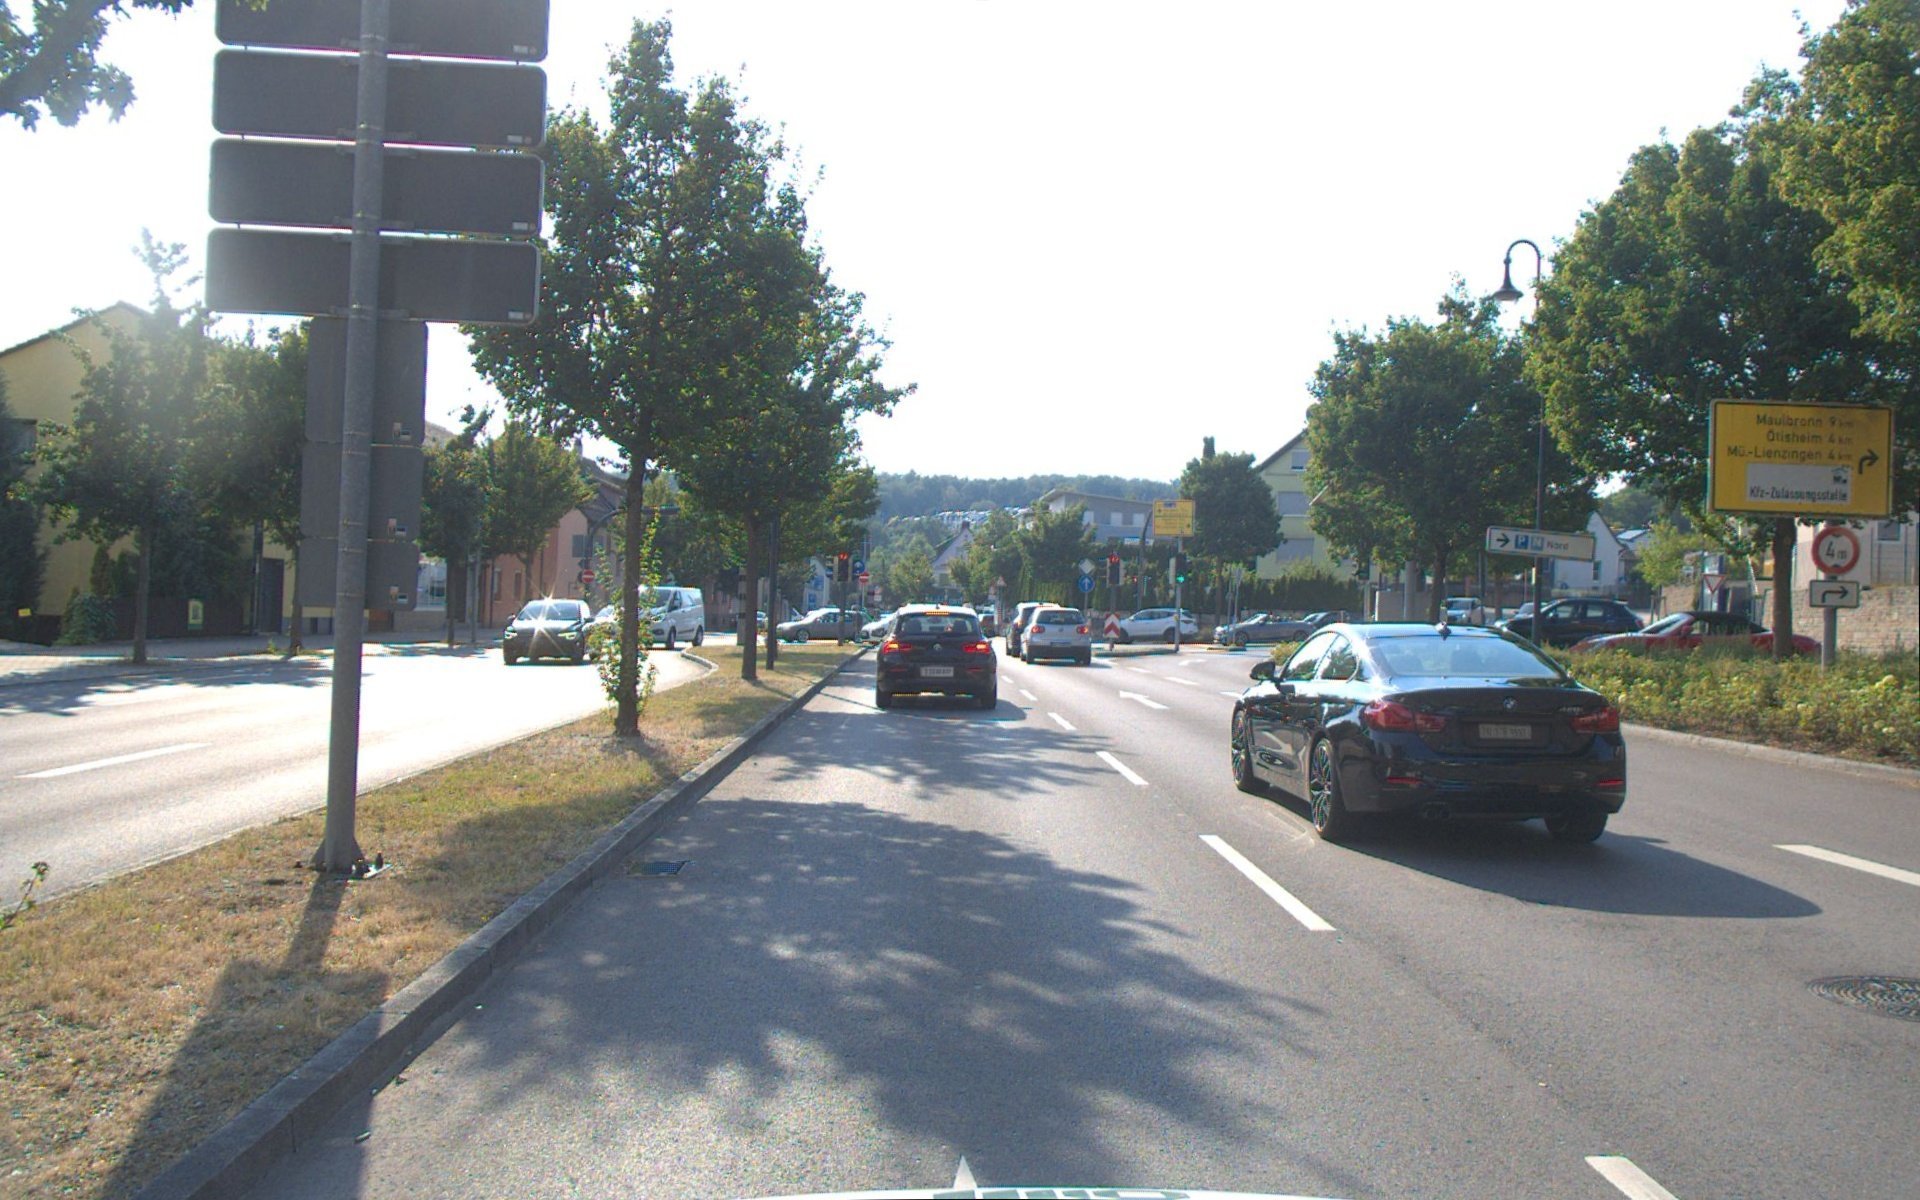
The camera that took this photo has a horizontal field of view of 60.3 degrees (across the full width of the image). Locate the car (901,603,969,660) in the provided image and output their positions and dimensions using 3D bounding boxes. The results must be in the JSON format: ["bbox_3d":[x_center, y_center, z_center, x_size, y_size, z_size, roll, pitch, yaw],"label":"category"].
[{"bbox_3d":[-0.677,0.833,45.620,1.779,1.476,4.241,1,0,-1],"label":"car"}]

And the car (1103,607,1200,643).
[{"bbox_3d":[9.308,1.202,80.222,4.413,1.732,1.898,0,-1,16],"label":"car"}]

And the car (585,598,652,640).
[{"bbox_3d":[-13.034,0.696,63.294,1.770,1.523,4.244,1,0,-2],"label":"car"}]

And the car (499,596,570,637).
[{"bbox_3d":[-17.668,0.669,68.817,1.805,1.579,4.000,3,0,1],"label":"car"}]

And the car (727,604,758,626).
[{"bbox_3d":[-16.833,1.169,127.976,1.885,1.624,4.000,1,0,0],"label":"car"}]

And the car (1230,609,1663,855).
[{"bbox_3d":[3.195,0.782,11.824,1.779,1.413,4.346,1,0,-1],"label":"car"}]

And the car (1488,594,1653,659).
[{"bbox_3d":[16.416,0.696,44.666,3.902,1.636,1.855,1,0,10],"label":"car"}]

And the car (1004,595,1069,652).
[{"bbox_3d":[2.351,0.707,51.651,1.779,1.695,4.346,1,0,-1],"label":"car"}]

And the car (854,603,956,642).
[{"bbox_3d":[-2.276,0.939,68.534,3.886,1.523,1.795,1,0,-21],"label":"car"}]

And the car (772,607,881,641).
[{"bbox_3d":[-5.976,1.081,74.116,4.630,1.488,1.681,1,0,-22],"label":"car"}]

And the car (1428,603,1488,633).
[{"bbox_3d":[25.746,0.933,85.420,1.828,1.511,4.648,1,0,31],"label":"car"}]

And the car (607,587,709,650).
[{"bbox_3d":[-9.839,0.599,54.272,1.784,1.957,4.948,1,0,8],"label":"car"}]

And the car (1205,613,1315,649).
[{"bbox_3d":[13.142,1.362,72.632,4.384,1.372,1.782,1,3,-12],"label":"car"}]

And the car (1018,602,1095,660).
[{"bbox_3d":[2.576,0.802,44.935,1.779,1.471,4.346,1,0,-1],"label":"car"}]

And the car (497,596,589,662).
[{"bbox_3d":[-9.776,0.658,39.019,1.737,1.476,4.099,1,0,-10],"label":"car"}]

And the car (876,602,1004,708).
[{"bbox_3d":[-0.295,0.768,25.032,1.754,1.439,4.346,1,0,-1],"label":"car"}]

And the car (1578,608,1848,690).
[{"bbox_3d":[12.873,0.817,28.498,3.902,1.294,1.855,1,0,10],"label":"car"}]
